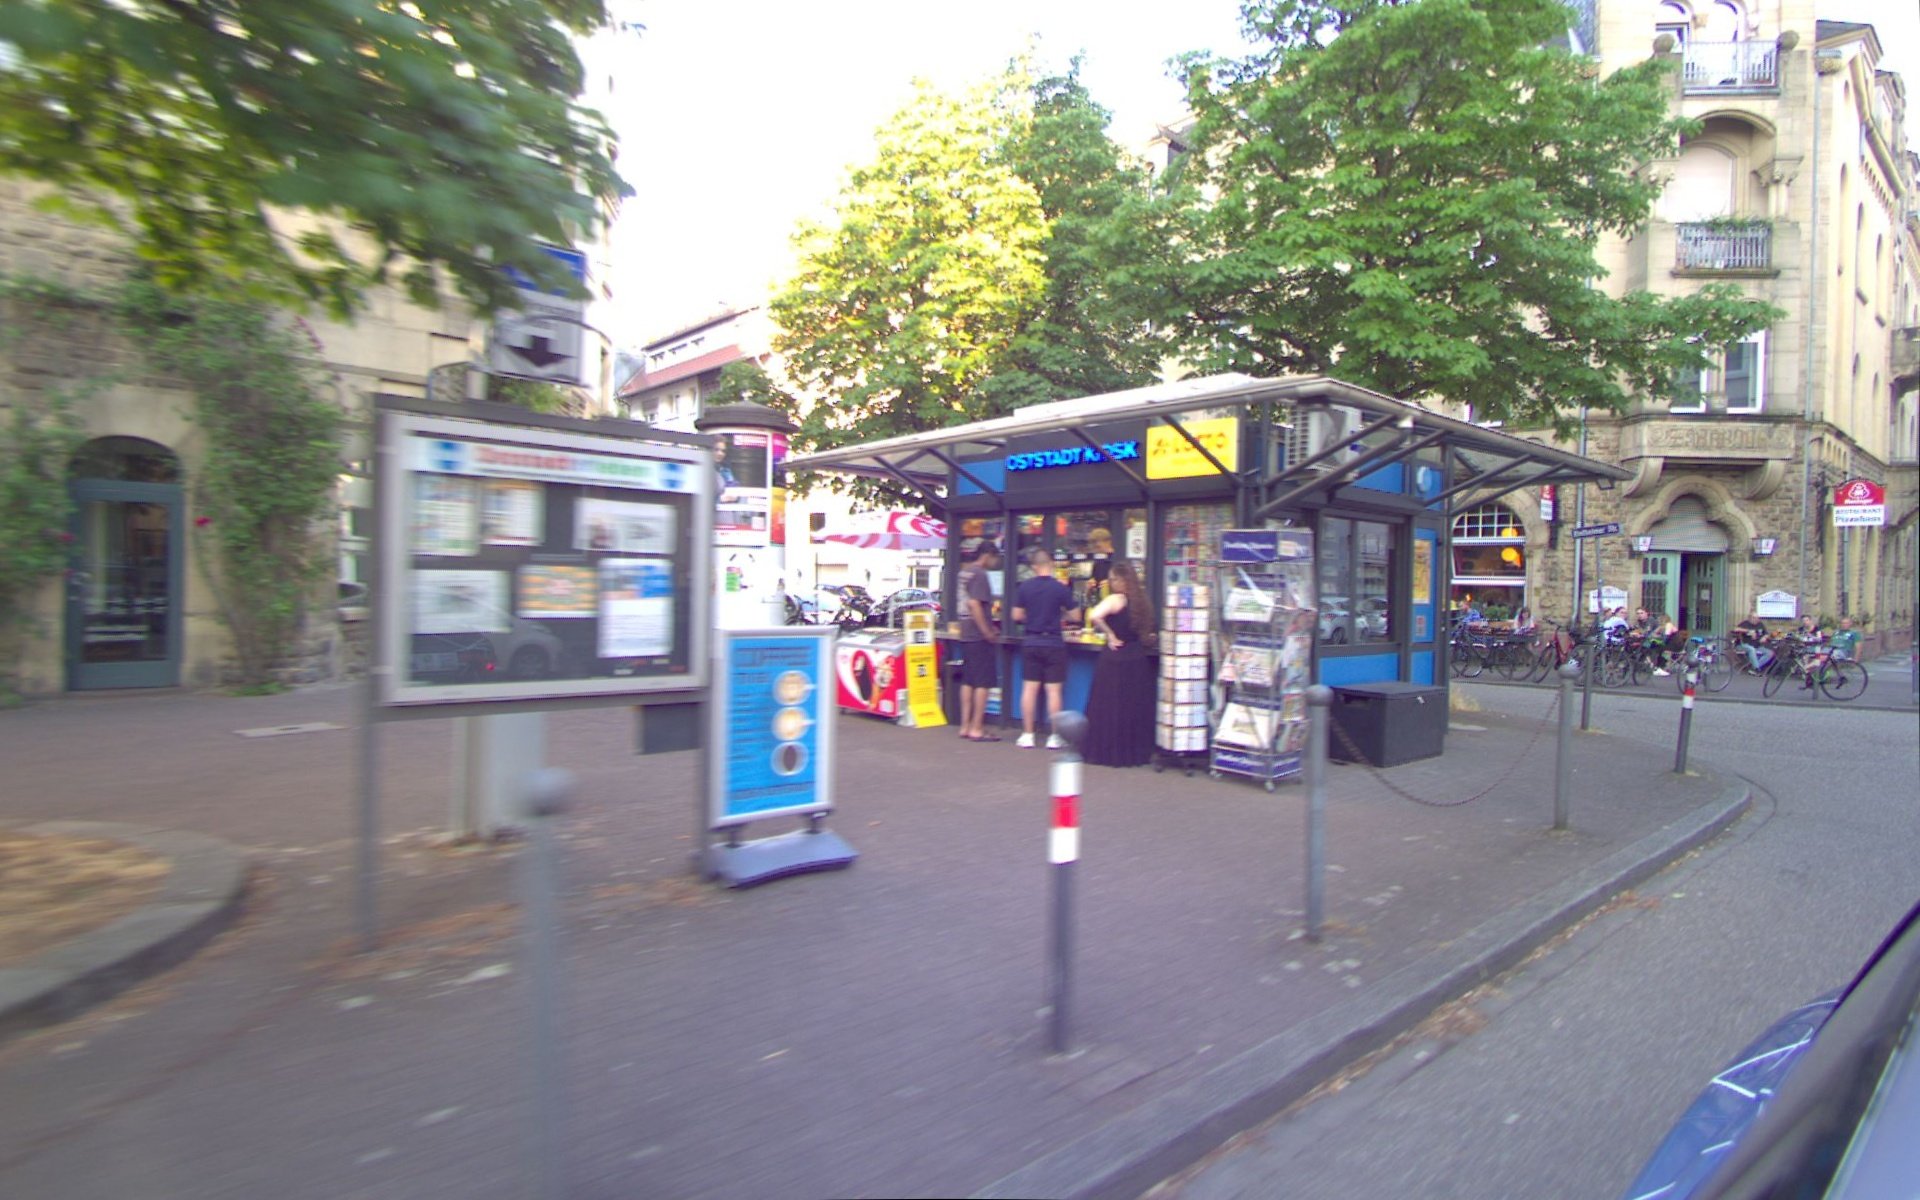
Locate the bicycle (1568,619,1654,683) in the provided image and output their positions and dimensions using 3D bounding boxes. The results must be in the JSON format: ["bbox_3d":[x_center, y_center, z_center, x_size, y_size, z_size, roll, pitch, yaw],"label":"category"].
[{"bbox_3d":[11.697,0.898,18.168,1.797,1.084,0.477,1,0,-28],"label":"bicycle"}]

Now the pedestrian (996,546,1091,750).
[{"bbox_3d":[0.718,0.380,8.633,0.669,1.658,0.587,1,1,19],"label":"pedestrian"}]

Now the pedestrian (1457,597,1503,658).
[{"bbox_3d":[11.773,0.605,22.909,0.656,1.337,0.730,1,0,-44],"label":"pedestrian"}]

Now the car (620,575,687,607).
[{"bbox_3d":[-15.015,-0.423,49.492,1.794,1.502,3.902,1,0,-39],"label":"car"}]

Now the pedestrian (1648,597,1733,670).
[{"bbox_3d":[14.810,0.662,20.538,1.083,1.414,0.842,0,1,-1],"label":"pedestrian"}]

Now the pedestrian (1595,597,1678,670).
[{"bbox_3d":[13.710,0.665,20.537,1.083,1.414,0.842,0,1,0],"label":"pedestrian"}]

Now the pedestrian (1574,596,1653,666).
[{"bbox_3d":[13.702,0.644,21.245,1.083,1.414,0.842,0,1,0],"label":"pedestrian"}]

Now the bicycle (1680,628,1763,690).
[{"bbox_3d":[12.805,0.974,17.005,1.671,0.992,0.448,1,0,-28],"label":"bicycle"}]

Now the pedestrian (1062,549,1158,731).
[{"bbox_3d":[1.425,0.355,9.634,0.675,1.658,0.582,1,1,41],"label":"pedestrian"}]

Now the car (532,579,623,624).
[{"bbox_3d":[-13.553,0.059,35.739,1.793,1.502,4.070,1,0,-39],"label":"car"}]

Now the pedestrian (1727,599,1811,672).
[{"bbox_3d":[16.685,0.705,20.888,0.881,1.414,1.010,3,1,6],"label":"pedestrian"}]

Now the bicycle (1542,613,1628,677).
[{"bbox_3d":[11.559,0.810,18.696,1.797,1.126,0.504,1,0,-28],"label":"bicycle"}]

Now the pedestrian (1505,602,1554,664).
[{"bbox_3d":[12.355,0.696,21.952,0.704,1.299,0.864,1,0,44],"label":"pedestrian"}]

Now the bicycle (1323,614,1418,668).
[{"bbox_3d":[8.700,0.873,21.469,1.796,1.091,0.592,1,0,-10],"label":"bicycle"}]

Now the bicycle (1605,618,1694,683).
[{"bbox_3d":[12.196,0.875,17.882,1.797,1.080,0.514,1,0,-28],"label":"bicycle"}]

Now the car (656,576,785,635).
[{"bbox_3d":[-6.607,0.141,27.721,1.795,1.502,3.997,1,0,-41],"label":"car"}]

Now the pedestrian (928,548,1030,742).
[{"bbox_3d":[0.167,0.374,9.058,0.581,1.658,0.677,0,1,-42],"label":"pedestrian"}]

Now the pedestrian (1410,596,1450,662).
[{"bbox_3d":[10.489,0.623,22.578,0.710,1.422,0.785,1,0,33],"label":"pedestrian"}]

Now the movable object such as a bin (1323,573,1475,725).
[{"bbox_3d":[4.752,0.488,11.004,0.750,1.493,1.227,1,3,-32],"label":"movable object such as a bin"}]

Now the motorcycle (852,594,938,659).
[{"bbox_3d":[-1.194,0.448,18.197,0.569,1.067,1.830,0,1,-40],"label":"motorcycle"}]

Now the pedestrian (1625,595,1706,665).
[{"bbox_3d":[14.798,0.613,21.245,1.083,1.414,0.842,0,1,-1],"label":"pedestrian"}]

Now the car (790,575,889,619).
[{"bbox_3d":[-4.408,-0.117,36.641,1.793,1.502,3.903,1,0,-38],"label":"car"}]

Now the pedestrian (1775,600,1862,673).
[{"bbox_3d":[17.797,0.751,20.993,1.080,1.413,0.843,2,2,-17],"label":"pedestrian"}]

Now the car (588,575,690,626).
[{"bbox_3d":[-10.098,0.013,31.703,1.793,1.502,3.903,1,0,-38],"label":"car"}]

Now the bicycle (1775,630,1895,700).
[{"bbox_3d":[14.135,1.042,16.370,1.451,1.052,0.431,1,1,8],"label":"bicycle"}]

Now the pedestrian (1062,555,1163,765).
[{"bbox_3d":[1.198,0.438,7.914,0.669,1.558,0.587,1,1,19],"label":"pedestrian"}]

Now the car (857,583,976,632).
[{"bbox_3d":[-1.470,0.243,33.062,1.795,1.502,3.898,1,0,-43],"label":"car"}]

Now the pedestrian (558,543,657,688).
[{"bbox_3d":[-4.600,0.175,13.269,0.961,1.811,1.006,1,1,-2],"label":"pedestrian"}]

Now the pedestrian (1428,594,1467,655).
[{"bbox_3d":[11.305,0.564,23.465,0.725,1.375,0.591,1,0,-45],"label":"pedestrian"}]

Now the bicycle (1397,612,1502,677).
[{"bbox_3d":[9.747,0.863,20.194,1.823,1.176,0.532,2,1,36],"label":"bicycle"}]

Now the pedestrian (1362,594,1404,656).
[{"bbox_3d":[10.114,0.585,24.197,0.757,1.414,0.618,-1,2,-37],"label":"pedestrian"}]

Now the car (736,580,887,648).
[{"bbox_3d":[-3.649,0.310,24.432,1.795,1.502,3.900,1,0,-41],"label":"car"}]

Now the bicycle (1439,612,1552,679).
[{"bbox_3d":[10.142,0.836,19.189,1.823,1.166,0.551,2,1,36],"label":"bicycle"}]

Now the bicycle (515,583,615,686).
[{"bbox_3d":[-5.117,0.403,13.230,0.623,1.202,1.916,1,2,-3],"label":"bicycle"}]

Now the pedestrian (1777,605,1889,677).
[{"bbox_3d":[17.382,0.800,20.186,1.395,1.301,0.840,2,2,6],"label":"pedestrian"}]
